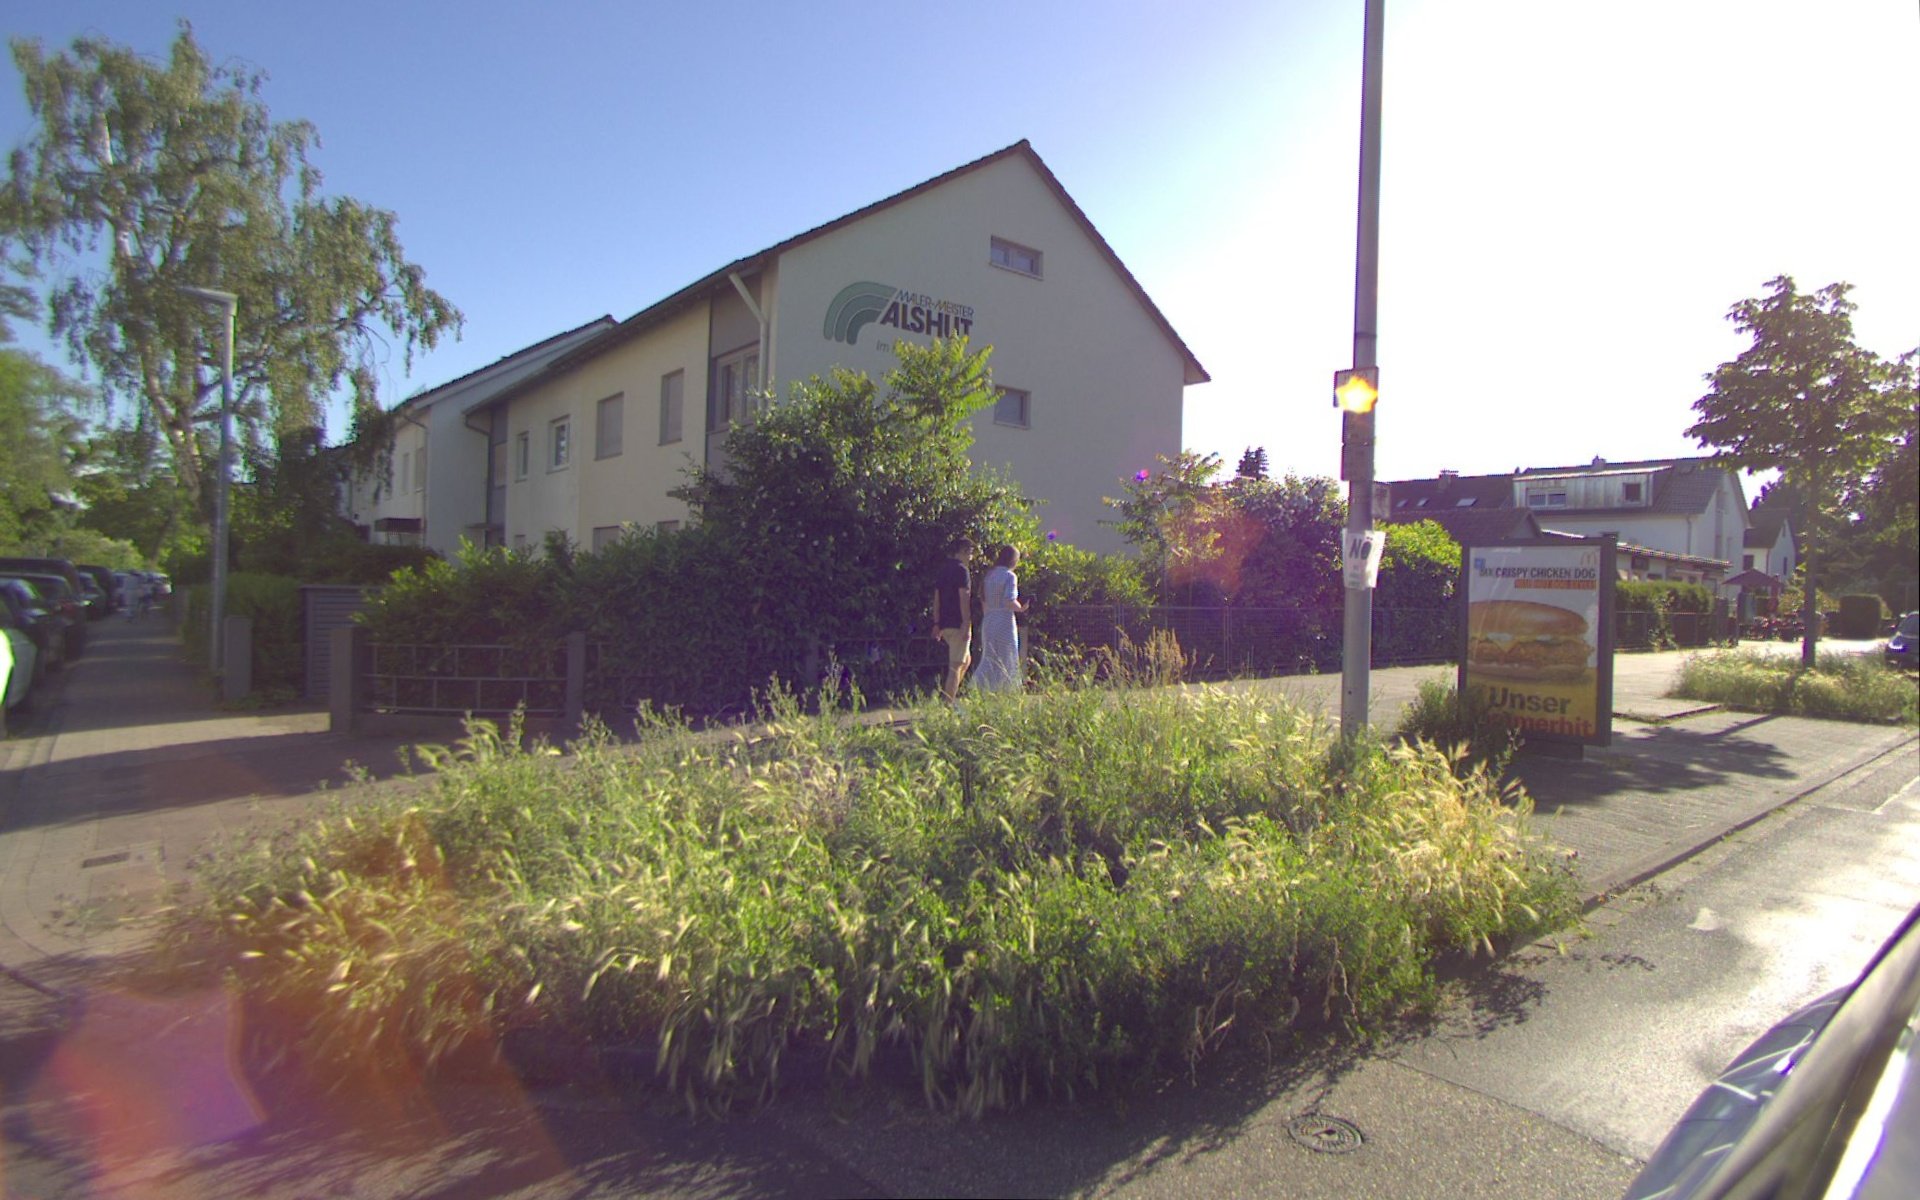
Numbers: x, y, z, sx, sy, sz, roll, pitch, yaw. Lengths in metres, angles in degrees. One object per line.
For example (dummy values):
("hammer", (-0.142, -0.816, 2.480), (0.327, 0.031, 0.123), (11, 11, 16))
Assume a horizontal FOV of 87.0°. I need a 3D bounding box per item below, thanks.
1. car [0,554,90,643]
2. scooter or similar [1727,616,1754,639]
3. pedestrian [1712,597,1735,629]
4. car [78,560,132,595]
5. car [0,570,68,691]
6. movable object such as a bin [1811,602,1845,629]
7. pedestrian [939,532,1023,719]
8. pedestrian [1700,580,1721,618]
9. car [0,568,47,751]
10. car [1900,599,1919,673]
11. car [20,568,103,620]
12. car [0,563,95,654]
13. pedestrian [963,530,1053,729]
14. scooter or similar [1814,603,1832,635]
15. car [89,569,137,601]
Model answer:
("car", (-20.680, -0.070, 22.561), (1.773, 1.816, 3.952), (2, 0, -39))
("scooter or similar", (26.834, 0.927, 34.790), (1.207, 0.725, 0.450), (0, 5, -41))
("pedestrian", (32.667, 0.550, 43.308), (0.564, 1.339, 0.640), (0, -2, -39))
("car", (-39.703, -1.054, 47.074), (1.773, 1.521, 3.952), (2, 0, -39))
("car", (-13.681, 0.336, 14.016), (1.773, 1.521, 3.952), (2, 0, -39))
("movable object such as a bin", (45.161, 0.787, 52.651), (0.912, 1.310, 1.171), (0, 2, -40))
("pedestrian", (0.201, 0.240, 9.887), (0.626, 1.754, 0.609), (0, 0, -23))
("pedestrian", (36.972, -0.043, 49.837), (0.722, 1.831, 0.672), (0, 0, -39))
("car", (-9.997, 0.429, 9.542), (1.773, 1.521, 4.204), (2, 0, -39))
("car", (22.358, 0.821, 22.611), (3.536, 1.593, 1.497), (1, 3, -40))
("car", (-28.729, -0.219, 32.454), (1.773, 1.521, 3.952), (2, 0, -39))
("car", (-17.077, 0.103, 18.480), (1.773, 1.521, 3.952), (2, 0, -39))
("pedestrian", (0.436, 0.260, 9.338), (0.647, 1.754, 0.557), (0, 0, -23))
("scooter or similar", (36.507, 0.788, 42.805), (0.454, 1.311, 0.502), (0, 2, -43))
("car", (-43.422, -0.782, 51.950), (1.773, 1.521, 3.952), (2, 0, -39))
